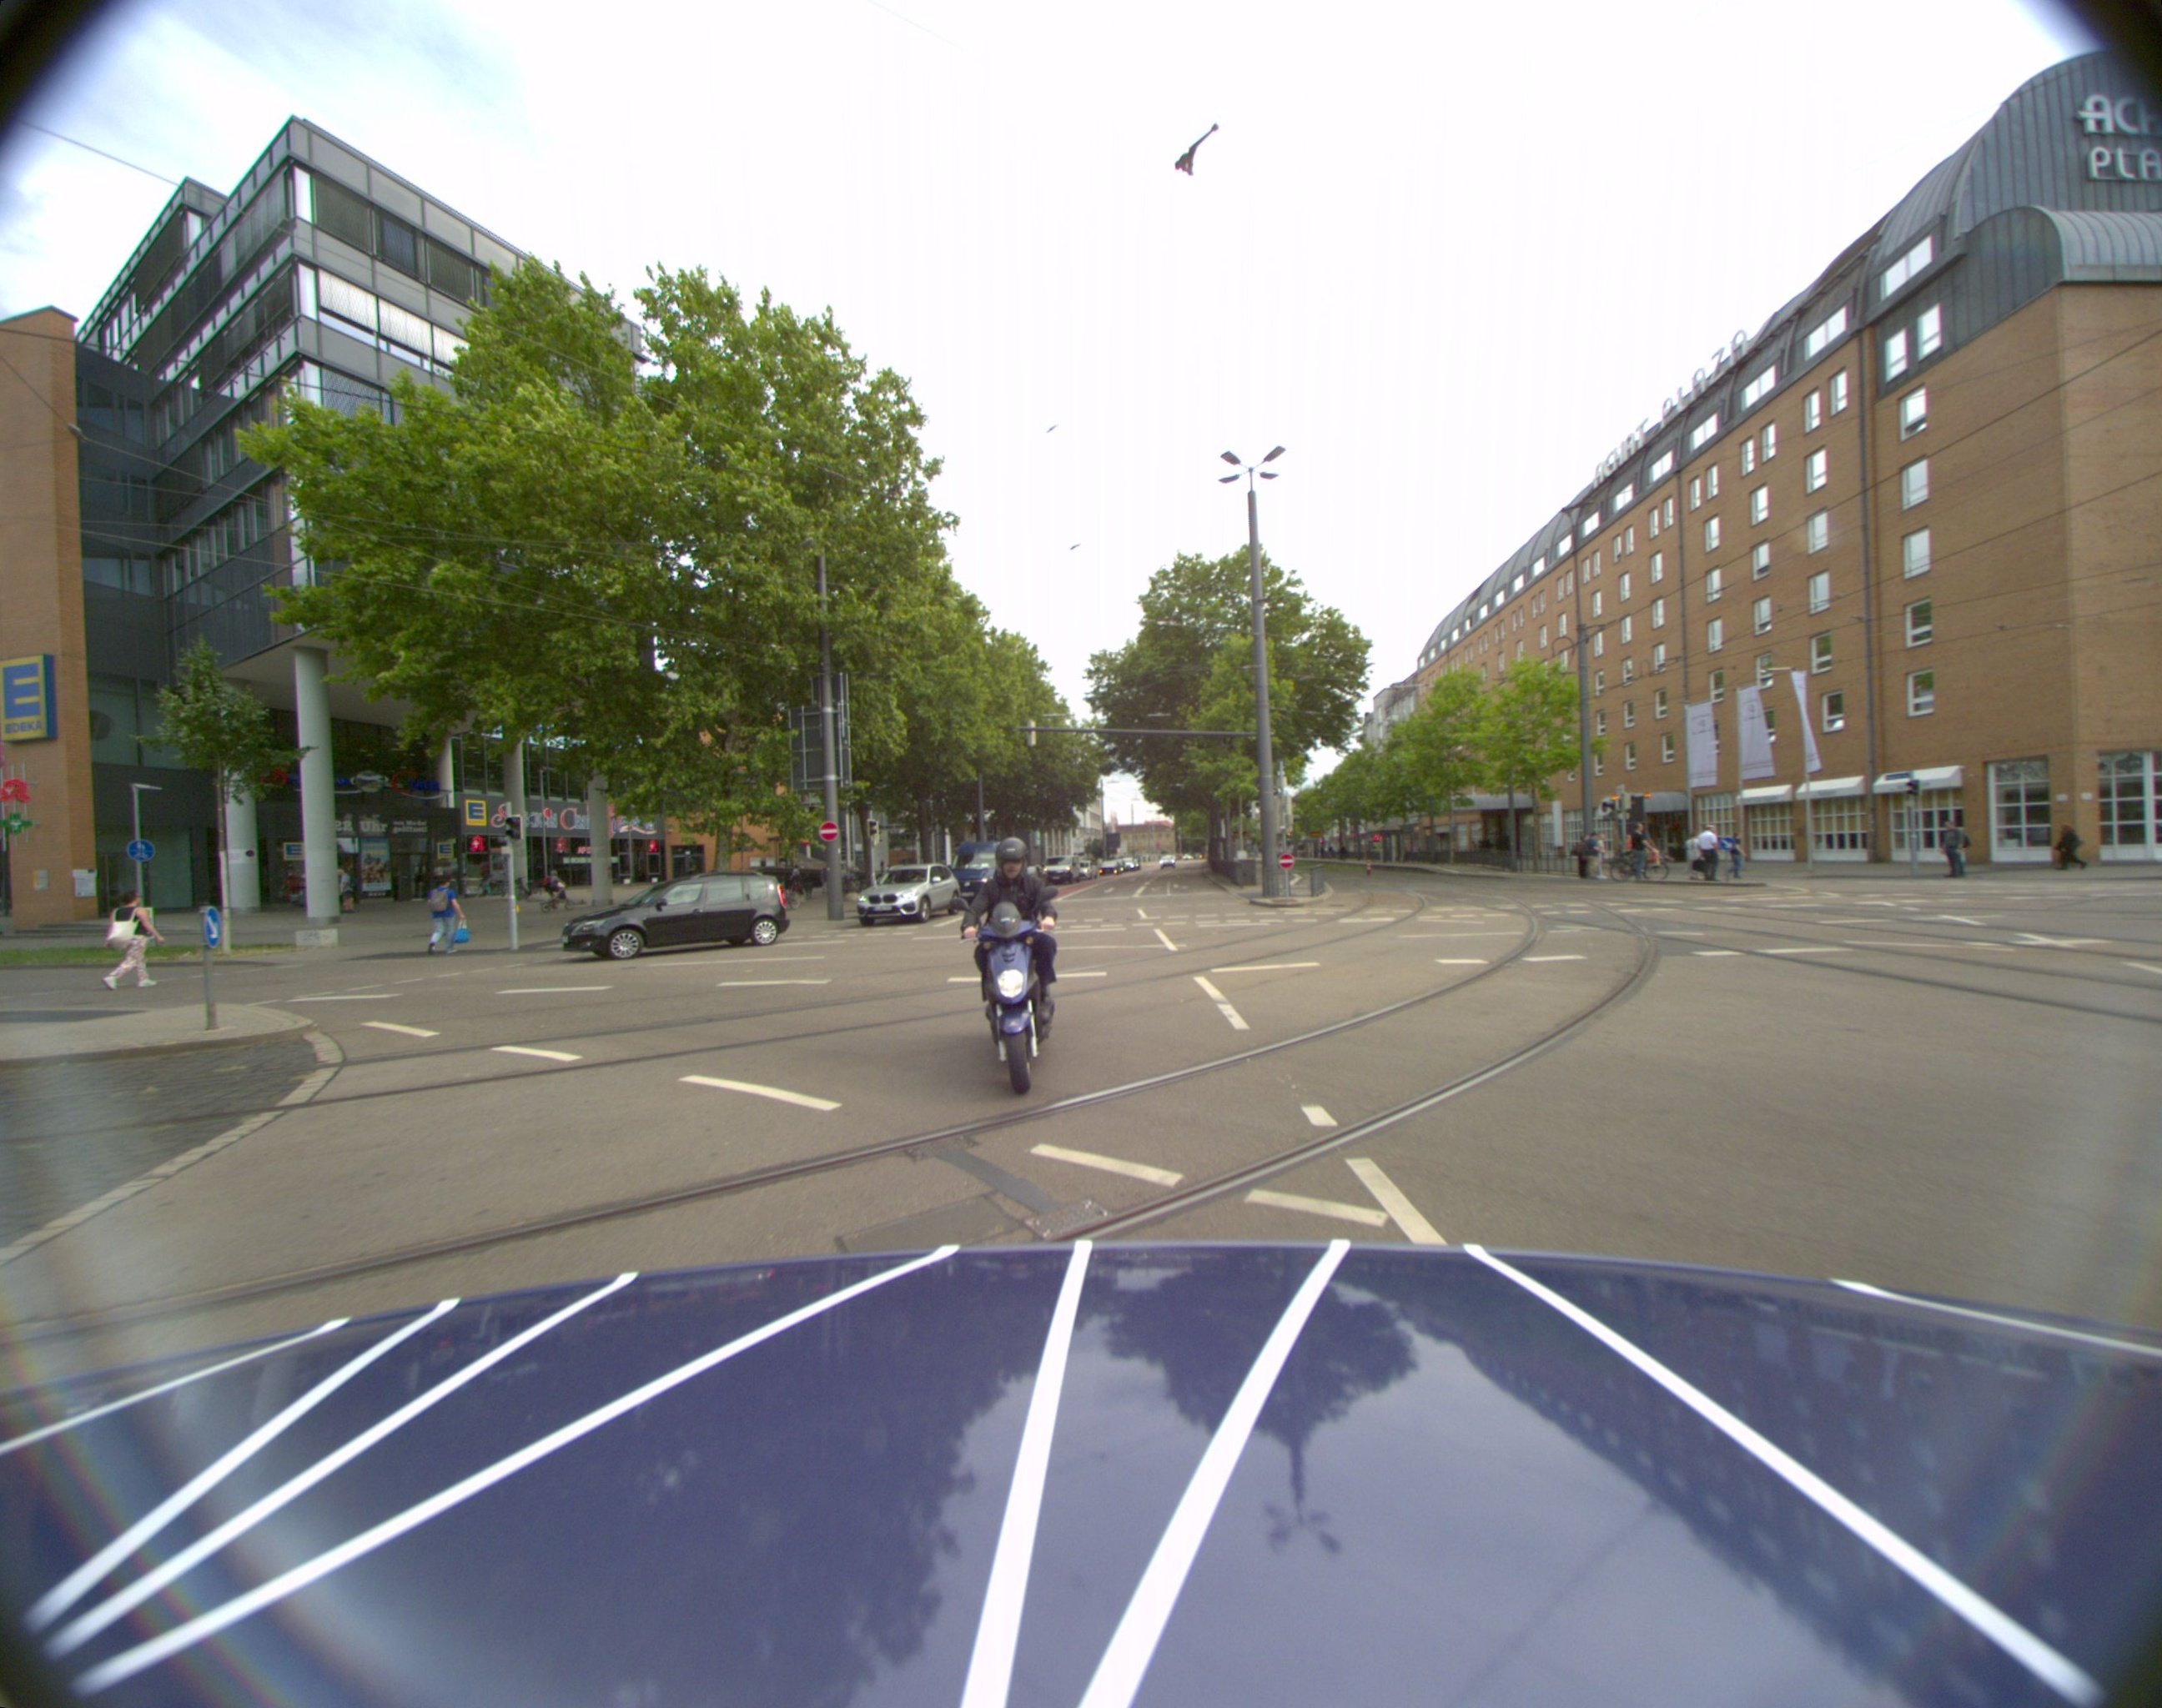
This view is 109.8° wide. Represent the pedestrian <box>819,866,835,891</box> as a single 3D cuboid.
[{"bbox_3d":[-15.436,1.496,46.134,0.587,1.502,0.683,-2,1,14],"label":"pedestrian"}]

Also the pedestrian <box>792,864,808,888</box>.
[{"bbox_3d":[-18.396,1.436,49.723,0.586,1.502,0.683,-2,1,27],"label":"pedestrian"}]

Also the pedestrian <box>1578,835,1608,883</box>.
[{"bbox_3d":[18.589,0.170,27.610,0.684,1.696,0.534,-2,1,-6],"label":"pedestrian"}]

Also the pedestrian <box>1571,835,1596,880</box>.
[{"bbox_3d":[19.353,0.122,29.267,0.564,1.696,0.534,-2,1,-6],"label":"pedestrian"}]

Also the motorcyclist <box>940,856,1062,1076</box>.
[{"bbox_3d":[-0.571,0.783,5.810,0.761,1.510,1.017,-2,0,1],"label":"motorcyclist"}]

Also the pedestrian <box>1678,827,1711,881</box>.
[{"bbox_3d":[19.800,-0.009,24.527,0.564,1.696,0.578,-2,1,-6],"label":"pedestrian"}]

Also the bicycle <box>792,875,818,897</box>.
[{"bbox_3d":[-14.267,1.666,39.277,0.595,1.043,1.723,-2,0,2],"label":"bicycle"}]

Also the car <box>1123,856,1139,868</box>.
[{"bbox_3d":[5.955,0.927,90.131,1.574,1.270,3.734,-2,0,10],"label":"car"}]

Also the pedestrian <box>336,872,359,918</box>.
[{"bbox_3d":[-30.195,1.668,31.275,0.513,1.855,0.547,-2,0,36],"label":"pedestrian"}]

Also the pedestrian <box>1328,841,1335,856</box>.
[{"bbox_3d":[29.192,-0.604,88.664,0.648,1.696,0.625,-2,0,10],"label":"pedestrian"}]

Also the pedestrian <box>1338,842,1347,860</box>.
[{"bbox_3d":[25.718,-0.314,74.632,0.648,1.696,0.624,-2,0,7],"label":"pedestrian"}]

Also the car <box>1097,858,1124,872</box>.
[{"bbox_3d":[2.867,1.035,72.824,1.997,1.270,4.003,-2,0,10],"label":"car"}]

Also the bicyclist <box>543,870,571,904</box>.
[{"bbox_3d":[-22.157,1.387,32.134,0.531,1.424,0.739,-2,0,13],"label":"bicyclist"}]

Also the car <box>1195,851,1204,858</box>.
[{"bbox_3d":[30.697,0.176,196.660,1.668,1.699,4.000,-2,0,1],"label":"car"}]

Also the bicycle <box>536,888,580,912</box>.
[{"bbox_3d":[-22.126,1.941,32.189,0.535,0.911,1.542,-2,0,13],"label":"bicycle"}]

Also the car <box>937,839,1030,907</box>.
[{"bbox_3d":[-3.889,0.718,31.853,2.173,2.441,7.000,-3,0,6],"label":"car"}]

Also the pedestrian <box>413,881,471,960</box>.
[{"bbox_3d":[-14.572,1.507,17.331,0.587,1.722,0.744,-2,1,11],"label":"pedestrian"}]

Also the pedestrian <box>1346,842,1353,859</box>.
[{"bbox_3d":[26.308,-0.335,74.434,0.551,1.696,0.624,-2,0,8],"label":"pedestrian"}]

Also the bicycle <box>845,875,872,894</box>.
[{"bbox_3d":[-11.620,1.569,39.672,0.535,0.911,1.724,-2,0,13],"label":"bicycle"}]

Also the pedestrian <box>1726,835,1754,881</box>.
[{"bbox_3d":[24.404,0.147,28.149,0.563,1.696,0.535,-2,1,5],"label":"pedestrian"}]

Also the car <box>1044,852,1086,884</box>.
[{"bbox_3d":[-1.021,0.941,51.693,1.997,2.001,5.440,-2,-1,7],"label":"car"}]

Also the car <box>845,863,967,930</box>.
[{"bbox_3d":[-5.033,1.170,22.652,1.962,1.651,4.641,-4,-1,7],"label":"car"}]

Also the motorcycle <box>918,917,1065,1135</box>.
[{"bbox_3d":[-0.558,1.129,5.675,0.769,1.101,2.208,-2,0,1],"label":"motorcycle"}]

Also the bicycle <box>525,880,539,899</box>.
[{"bbox_3d":[-28.237,1.812,39.071,0.537,0.911,1.560,-2,0,-35],"label":"bicycle"}]

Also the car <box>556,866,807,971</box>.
[{"bbox_3d":[-8.192,1.219,15.815,4.188,1.728,1.960,-2,0,-44],"label":"car"}]

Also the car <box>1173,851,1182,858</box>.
[{"bbox_3d":[24.958,0.204,196.992,1.668,1.699,4.000,-2,0,1],"label":"car"}]

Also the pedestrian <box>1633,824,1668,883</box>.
[{"bbox_3d":[18.862,-0.016,25.184,0.693,1.940,0.535,-2,1,1],"label":"pedestrian"}]

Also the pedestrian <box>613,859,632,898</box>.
[{"bbox_3d":[-22.071,1.175,36.571,0.545,1.855,0.515,-2,0,30],"label":"pedestrian"}]

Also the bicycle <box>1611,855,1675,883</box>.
[{"bbox_3d":[18.972,0.516,25.660,1.710,0.883,0.499,-2,0,5],"label":"bicycle"}]

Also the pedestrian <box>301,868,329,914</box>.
[{"bbox_3d":[-31.231,1.502,30.993,0.627,1.855,0.671,-2,1,-32],"label":"pedestrian"}]

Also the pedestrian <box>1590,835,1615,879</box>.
[{"bbox_3d":[20.563,0.129,29.988,0.564,1.696,0.534,-2,1,-6],"label":"pedestrian"}]

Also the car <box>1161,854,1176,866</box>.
[{"bbox_3d":[11.059,0.729,95.931,1.845,1.368,3.836,-2,-2,7],"label":"car"}]

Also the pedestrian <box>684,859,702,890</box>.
[{"bbox_3d":[-22.253,1.155,43.582,0.745,1.722,0.586,-3,1,-44],"label":"pedestrian"}]

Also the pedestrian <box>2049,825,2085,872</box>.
[{"bbox_3d":[31.864,-0.177,24.554,0.535,1.498,0.648,-2,1,-32],"label":"pedestrian"}]

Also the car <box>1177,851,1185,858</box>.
[{"bbox_3d":[26.593,0.084,202.095,1.668,1.699,4.000,-2,0,1],"label":"car"}]

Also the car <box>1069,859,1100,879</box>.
[{"bbox_3d":[0.331,1.196,61.275,1.914,1.533,4.095,-2,-1,7],"label":"car"}]

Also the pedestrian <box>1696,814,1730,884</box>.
[{"bbox_3d":[19.436,-0.163,23.380,0.564,2.118,0.534,-2,1,-6],"label":"pedestrian"}]

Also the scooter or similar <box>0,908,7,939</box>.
[{"bbox_3d":[-40.993,2.620,28.394,1.472,1.160,0.486,-2,0,15],"label":"scooter or similar"}]

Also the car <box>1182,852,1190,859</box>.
[{"bbox_3d":[27.304,0.398,197.340,1.668,1.699,4.000,-2,0,1],"label":"car"}]

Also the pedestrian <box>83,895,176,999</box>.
[{"bbox_3d":[-15.968,1.545,12.767,0.587,1.642,0.744,-2,0,11],"label":"pedestrian"}]

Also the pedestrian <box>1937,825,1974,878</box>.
[{"bbox_3d":[28.594,-0.071,24.844,0.563,1.696,0.535,-2,1,3],"label":"pedestrian"}]

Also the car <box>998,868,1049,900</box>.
[{"bbox_3d":[-2.934,1.513,39.499,1.756,1.409,4.276,-1,0,8],"label":"car"}]
